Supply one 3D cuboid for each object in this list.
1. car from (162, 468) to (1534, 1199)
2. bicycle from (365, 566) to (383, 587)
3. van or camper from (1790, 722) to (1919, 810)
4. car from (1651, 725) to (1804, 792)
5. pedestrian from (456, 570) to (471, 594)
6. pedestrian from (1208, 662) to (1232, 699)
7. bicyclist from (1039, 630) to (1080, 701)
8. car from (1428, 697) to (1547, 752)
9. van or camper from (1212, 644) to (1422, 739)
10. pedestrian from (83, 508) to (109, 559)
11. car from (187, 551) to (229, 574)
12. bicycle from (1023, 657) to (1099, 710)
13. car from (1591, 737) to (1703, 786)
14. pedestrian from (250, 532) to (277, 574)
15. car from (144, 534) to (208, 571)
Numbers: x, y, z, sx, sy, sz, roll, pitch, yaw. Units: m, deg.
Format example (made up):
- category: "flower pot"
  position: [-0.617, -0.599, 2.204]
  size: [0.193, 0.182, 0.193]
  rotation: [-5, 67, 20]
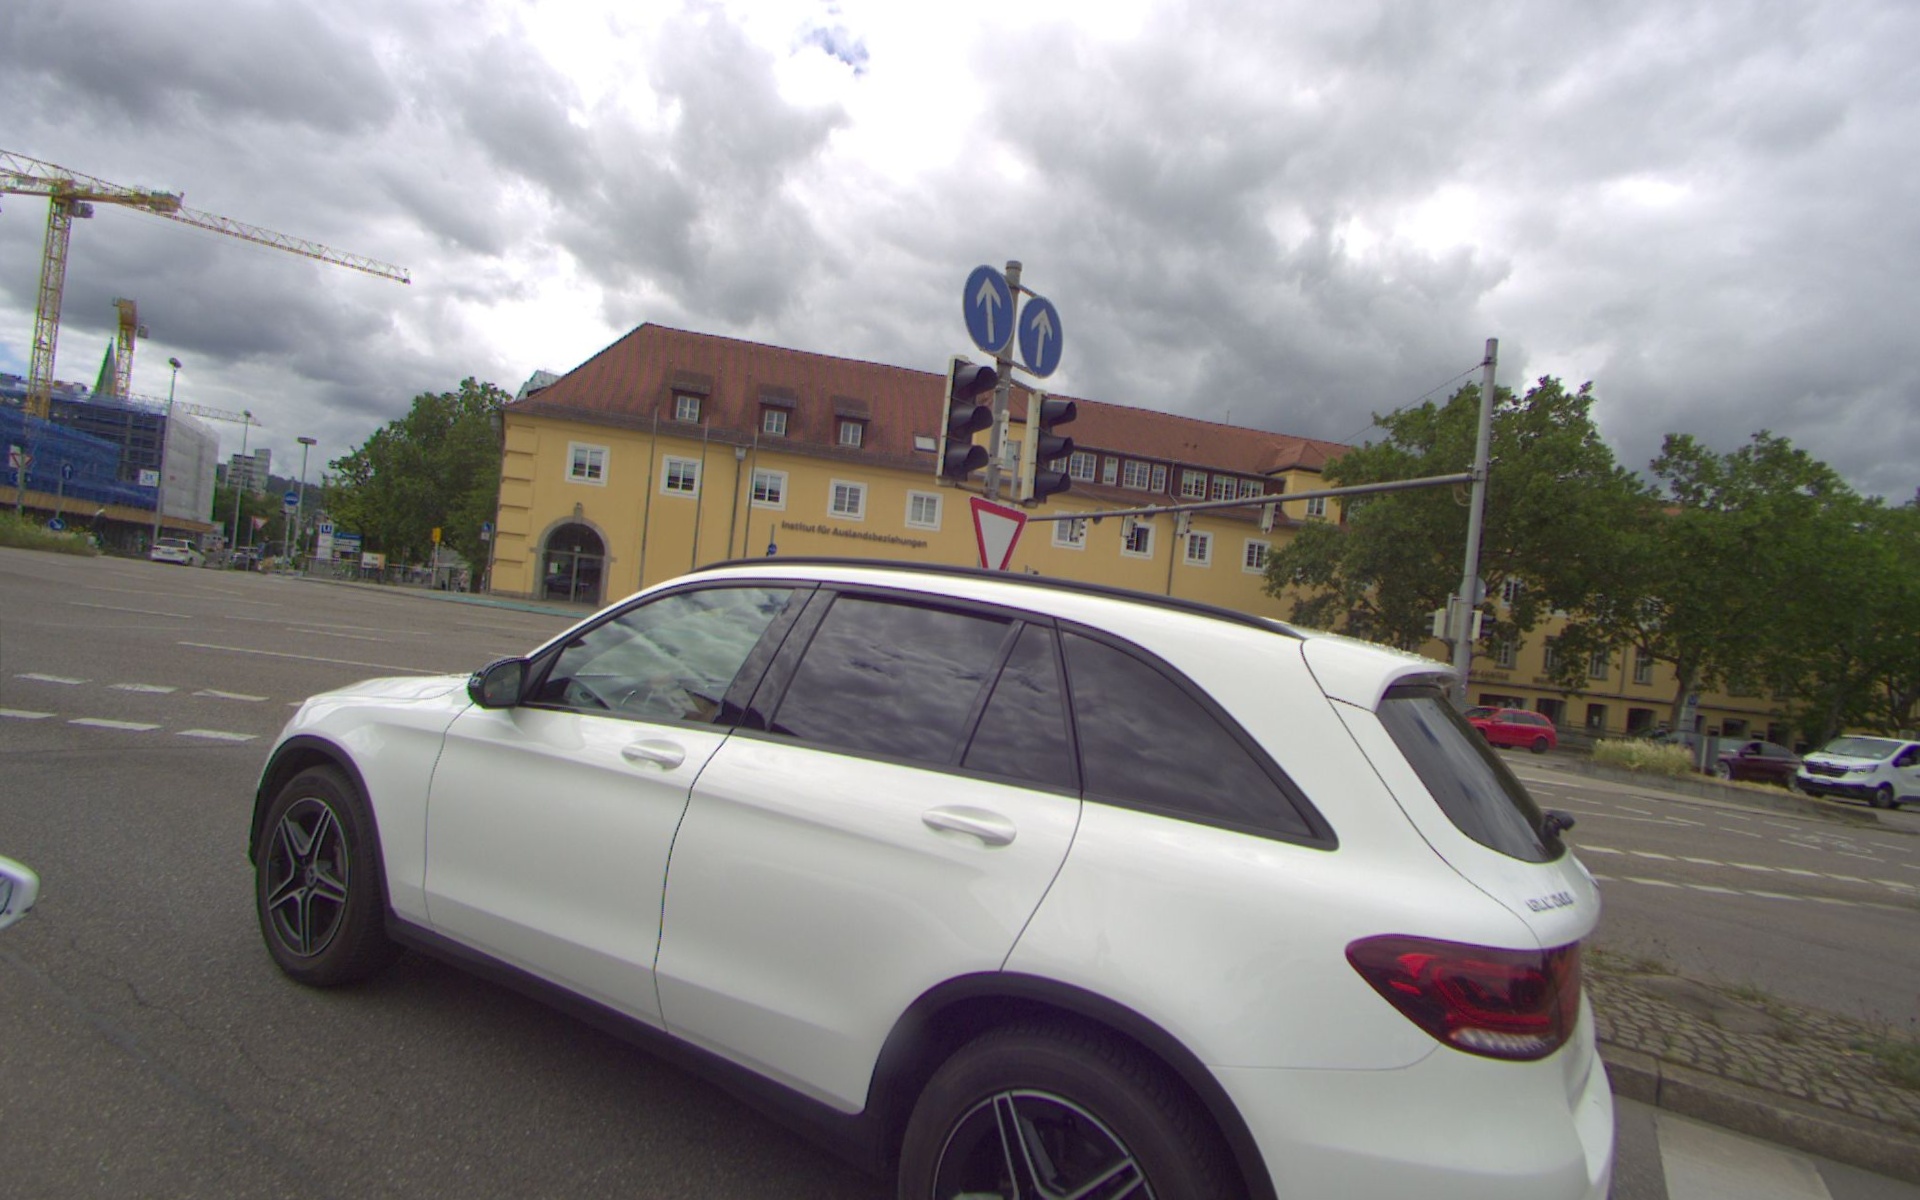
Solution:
- category: "car"
  position: [-0.610, 0.633, 3.407]
  size: [4.262, 1.666, 1.805]
  rotation: [7, -1, 31]
- category: "bicycle"
  position: [-33.642, -1.358, 57.766]
  size: [0.613, 1.098, 1.762]
  rotation: [7, -2, -25]
- category: "van or camper"
  position: [25.985, 4.711, 28.065]
  size: [4.640, 1.939, 1.861]
  rotation: [8, -1, -14]
- category: "car"
  position: [23.118, 4.763, 30.339]
  size: [3.655, 1.416, 1.735]
  rotation: [8, -1, -16]
- category: "pedestrian"
  position: [-31.574, -1.160, 63.948]
  size: [0.619, 1.467, 0.720]
  rotation: [7, -1, -20]
- category: "pedestrian"
  position: [10.760, 3.321, 41.655]
  size: [0.570, 1.396, 0.679]
  rotation: [7, 0, -16]
- category: "bicyclist"
  position: [2.512, 1.641, 25.272]
  size: [0.708, 1.660, 0.505]
  rotation: [8, 1, 21]
- category: "car"
  position: [18.589, 4.380, 35.482]
  size: [3.432, 1.371, 1.611]
  rotation: [8, -1, -15]
- category: "van or camper"
  position: [12.073, 3.071, 34.174]
  size: [6.185, 2.289, 2.370]
  rotation: [8, -1, -11]
- category: "pedestrian"
  position: [-33.929, -2.624, 39.506]
  size: [0.630, 1.919, 0.555]
  rotation: [8, 2, 44]
- category: "car"
  position: [-62.551, -3.129, 83.723]
  size: [1.976, 1.654, 3.975]
  rotation: [8, -1, -26]
- category: "bicycle"
  position: [2.535, 2.086, 25.256]
  size: [1.697, 1.085, 0.505]
  rotation: [7, 0, 21]
- category: "car"
  position: [25.543, 5.993, 37.425]
  size: [3.187, 1.250, 1.619]
  rotation: [8, -1, -13]
- category: "pedestrian"
  position: [-31.656, -2.132, 45.707]
  size: [0.744, 1.812, 0.821]
  rotation: [7, 2, -28]
- category: "car"
  position: [-44.853, -2.678, 57.666]
  size: [1.856, 1.619, 3.981]
  rotation: [8, -4, -25]
